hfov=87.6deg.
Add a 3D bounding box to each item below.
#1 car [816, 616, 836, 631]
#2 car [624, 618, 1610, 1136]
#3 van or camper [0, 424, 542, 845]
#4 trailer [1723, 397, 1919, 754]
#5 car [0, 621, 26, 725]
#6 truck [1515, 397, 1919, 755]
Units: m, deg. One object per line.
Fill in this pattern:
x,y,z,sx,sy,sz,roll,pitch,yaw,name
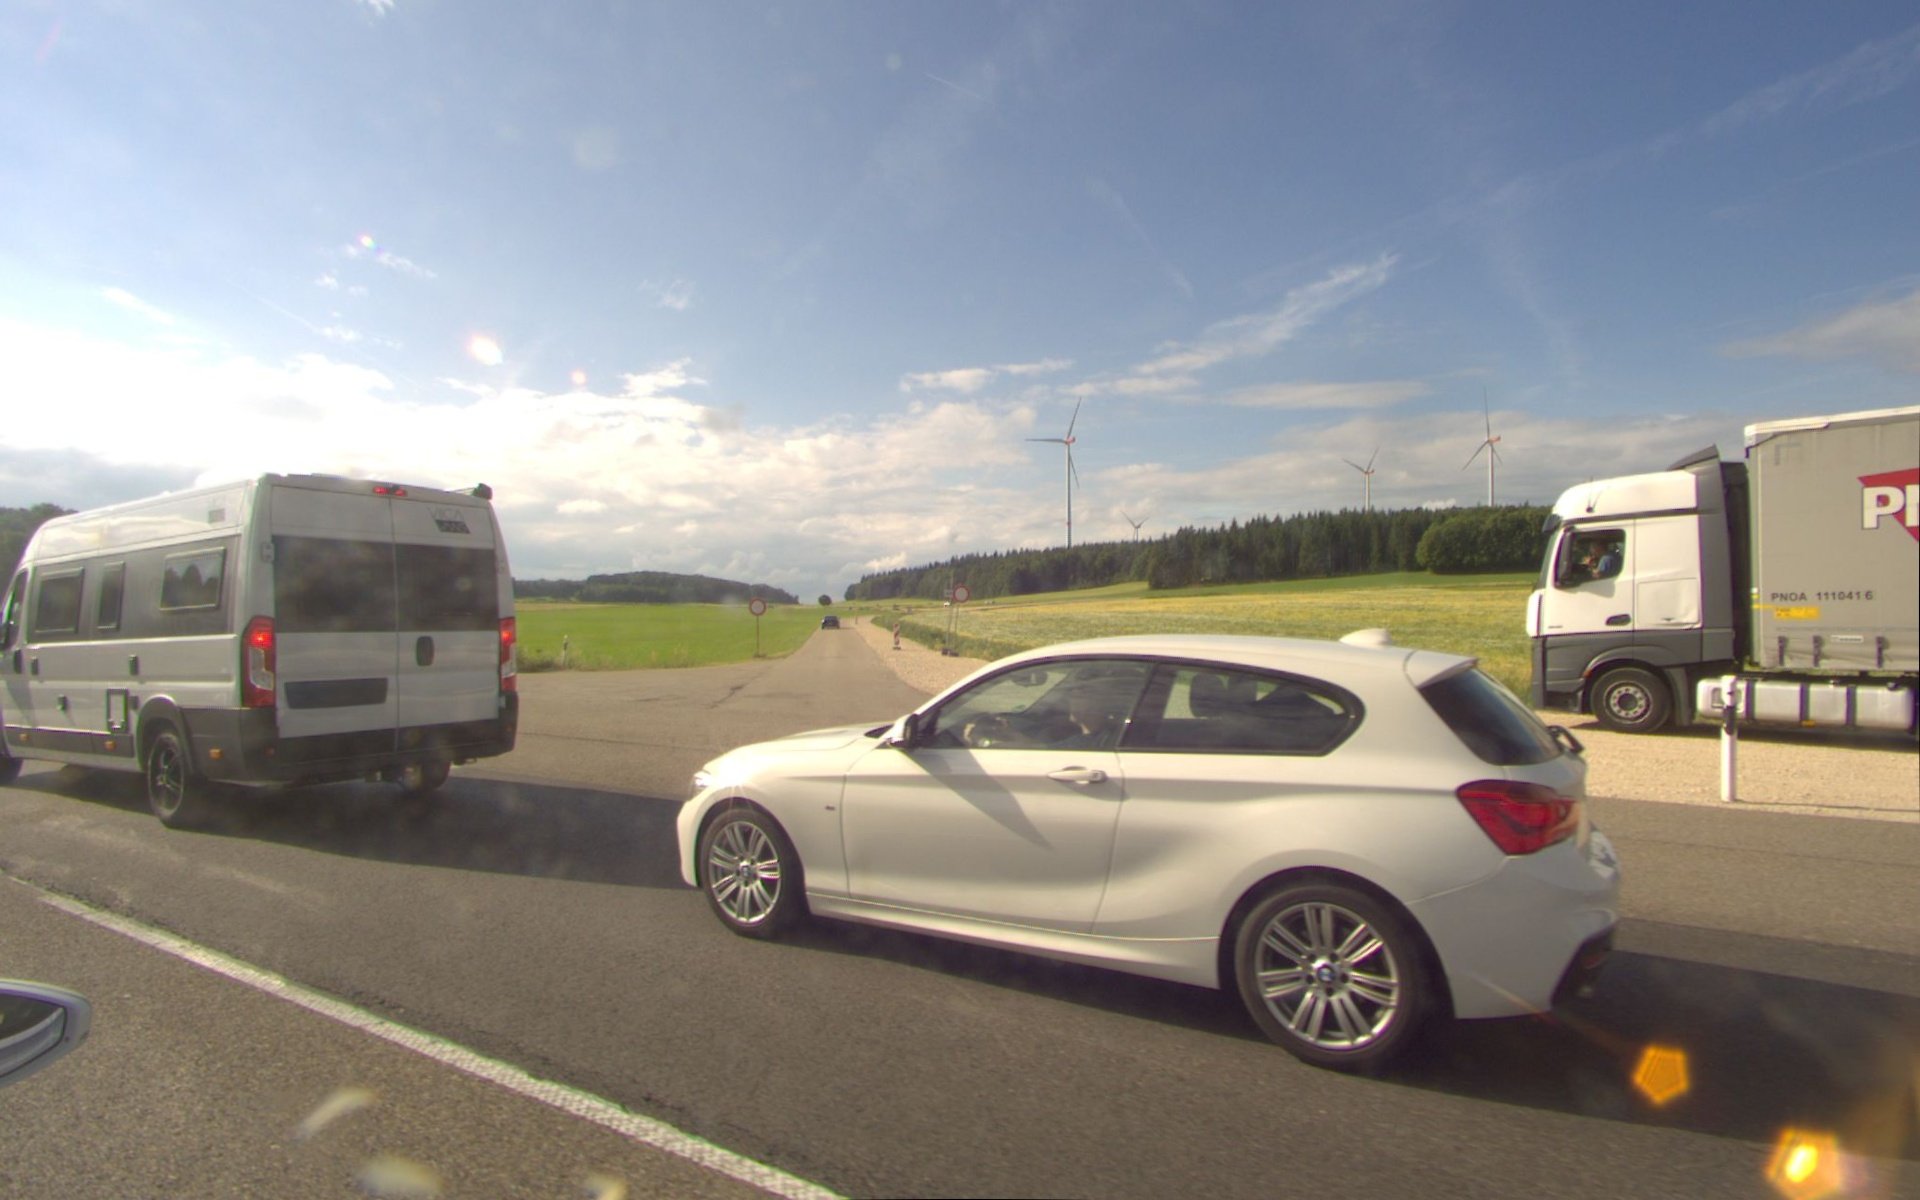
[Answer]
-14.009,2.467,104.654,1.798,1.450,4.229,1,-2,-12,car
0.513,0.828,4.663,4.171,1.450,1.701,-1,-2,32,car
-6.708,0.271,9.060,6.241,2.716,2.211,-1,-1,32,van or camper
15.707,-0.322,9.146,2.717,4.214,13.695,1,-2,-43,trailer
-15.318,1.004,14.307,4.371,1.412,1.786,0,-1,31,car
10.913,-0.228,14.245,2.696,4.227,4.714,1,-1,-44,truck
